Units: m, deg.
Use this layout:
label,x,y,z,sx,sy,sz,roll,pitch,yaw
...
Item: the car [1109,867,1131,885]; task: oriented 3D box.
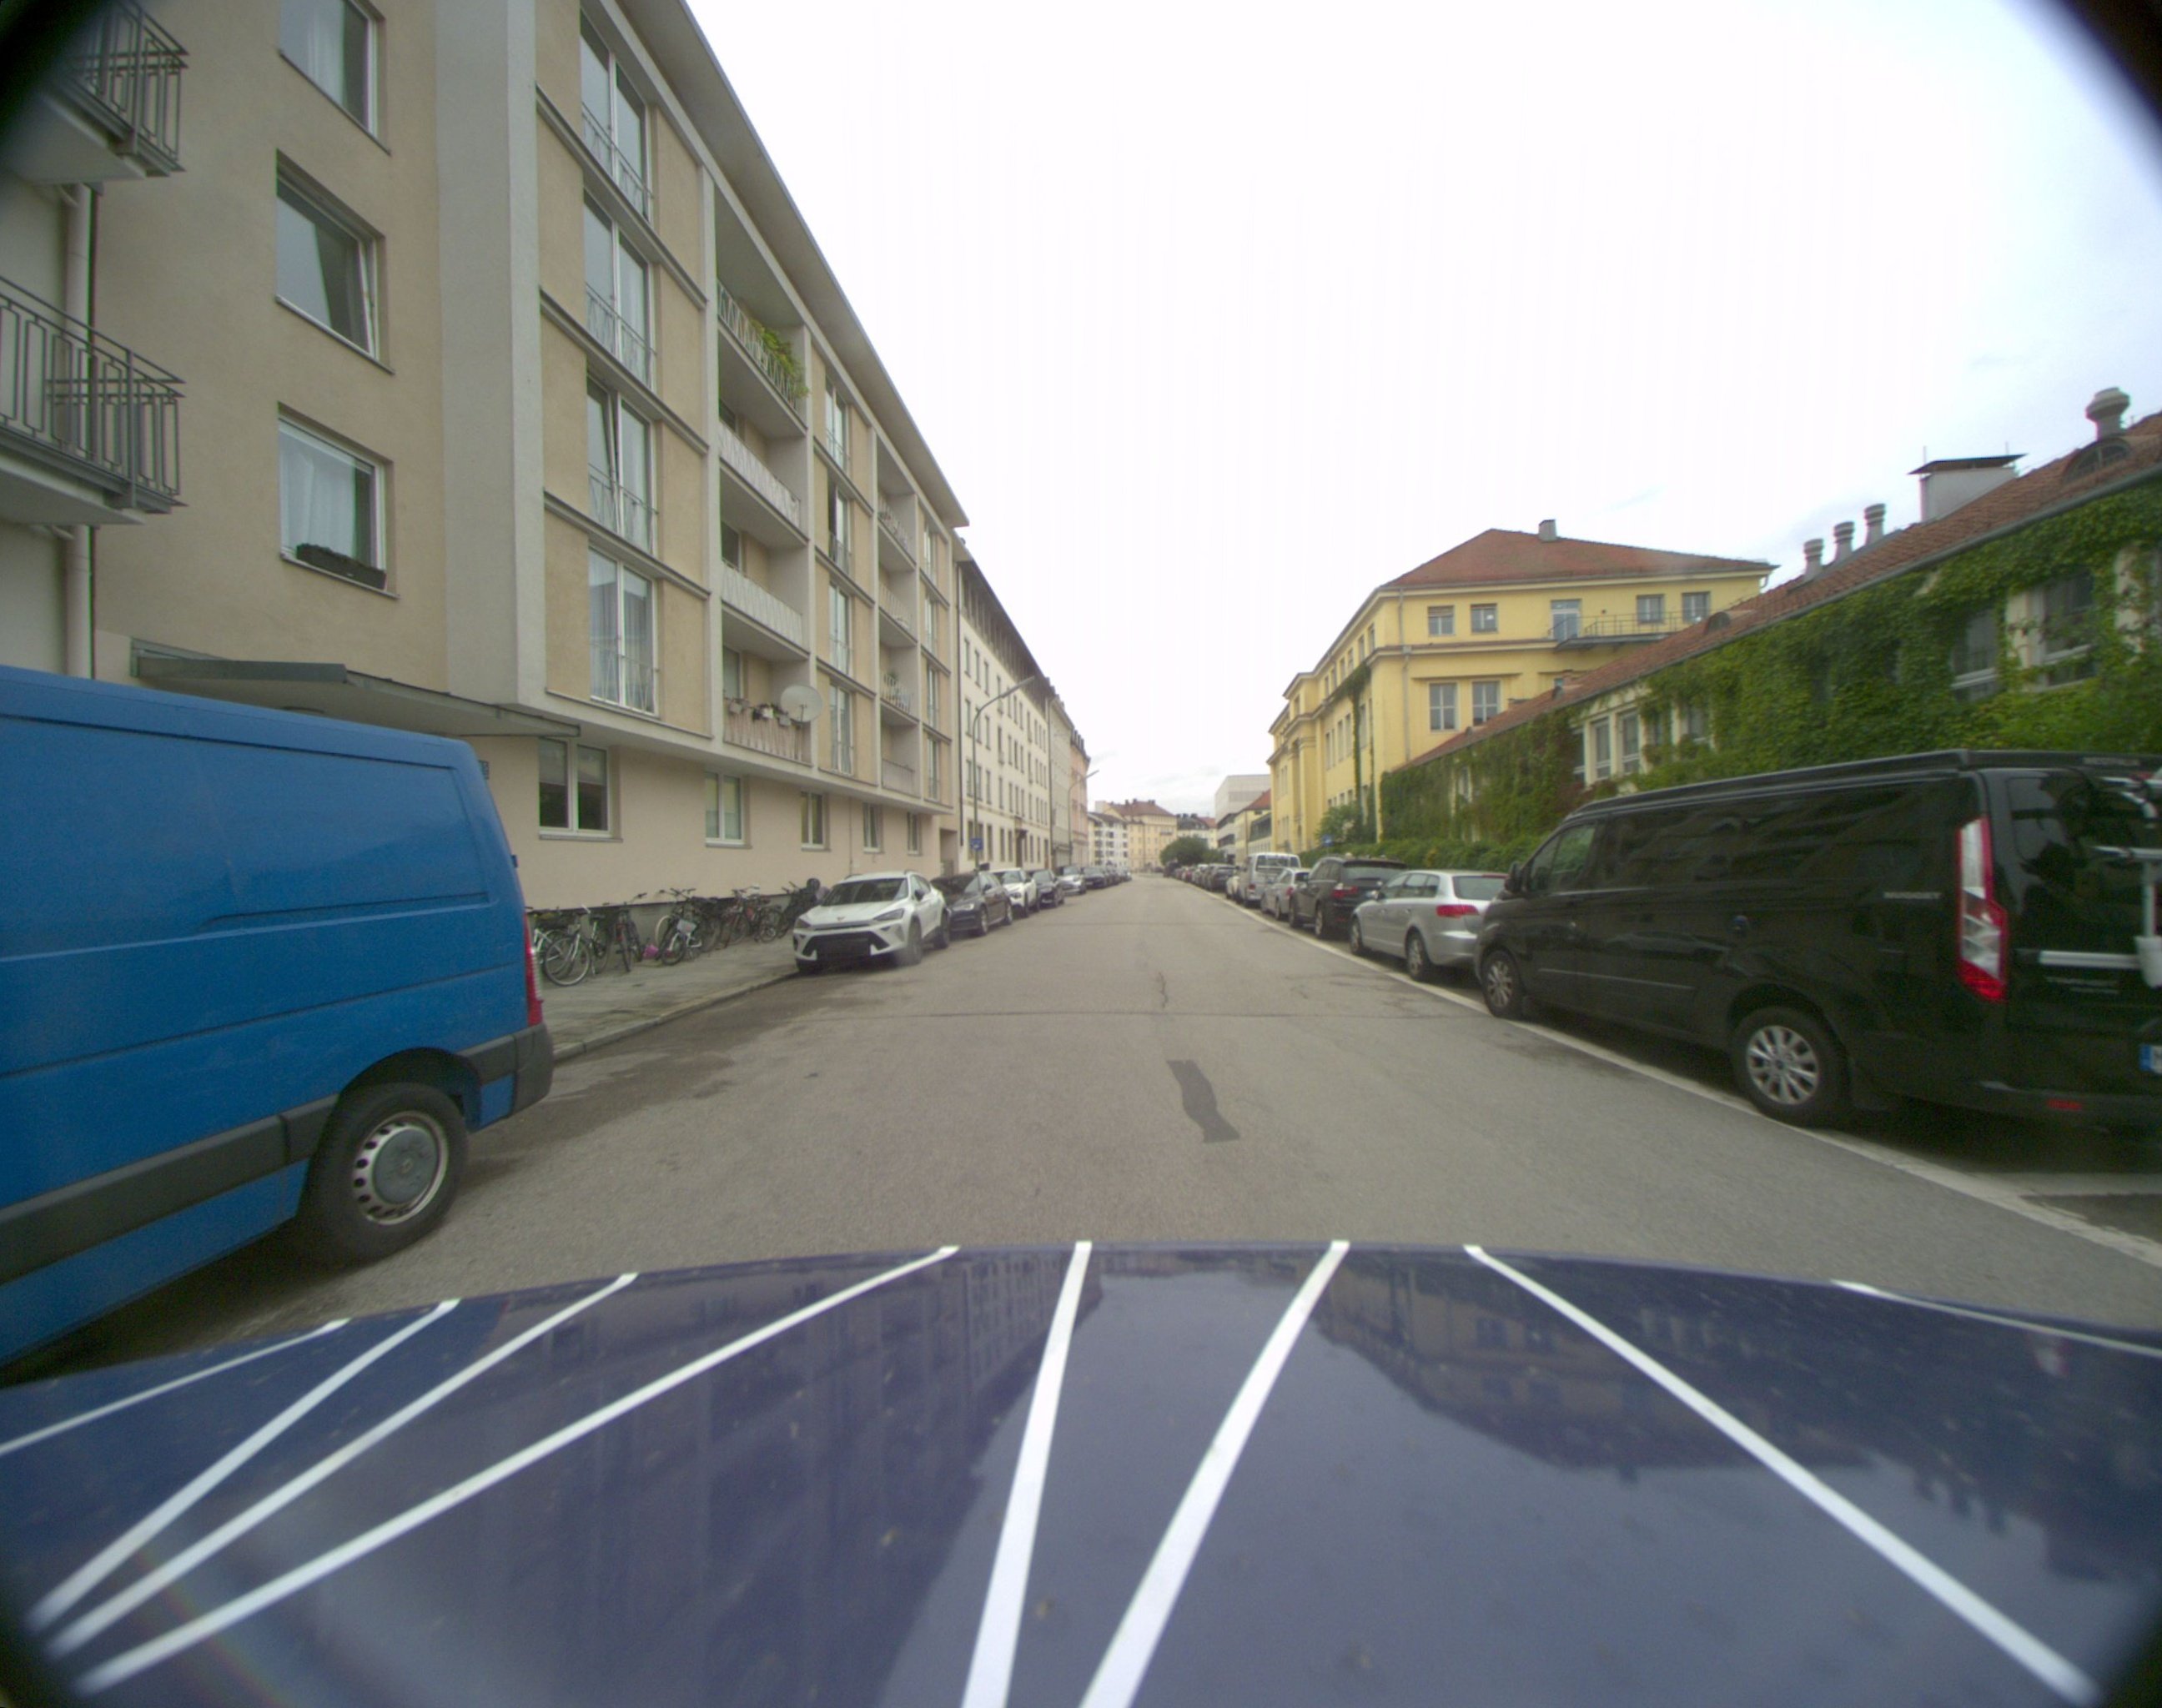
label,x,y,z,sx,sy,sz,roll,pitch,yaw
car,3.798,2.049,72.709,1.768,1.531,4.002,-4,-1,6

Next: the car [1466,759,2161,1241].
label,x,y,z,sx,sy,sz,roll,pitch,yaw
car,4.910,0.653,5.440,1.930,1.967,4.623,2,-1,0

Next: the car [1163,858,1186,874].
label,x,y,z,sx,sy,sz,roll,pitch,yaw
car,15.442,1.957,125.530,2.847,2.536,6.893,0,-1,0

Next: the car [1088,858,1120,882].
label,x,y,z,sx,sy,sz,roll,pitch,yaw
car,1.663,1.104,53.489,1.831,1.572,4.494,-3,-1,7

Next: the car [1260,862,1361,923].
label,x,y,z,sx,sy,sz,roll,pitch,yaw
car,6.205,0.983,21.050,1.807,1.369,4.493,3,0,6

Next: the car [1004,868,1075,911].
label,x,y,z,sx,sy,sz,roll,pitch,yaw
car,-1.445,1.254,28.200,1.831,1.373,4.494,-4,-1,6

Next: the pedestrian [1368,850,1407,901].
label,x,y,z,sx,sy,sz,roll,pitch,yaw
pedestrian,9.064,0.628,22.502,0.844,1.485,0.873,-1,0,7

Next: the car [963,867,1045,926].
label,x,y,z,sx,sy,sz,roll,pitch,yaw
car,-2.264,1.221,23.403,1.706,1.460,4.121,-5,-1,4

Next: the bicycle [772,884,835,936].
label,x,y,z,sx,sy,sz,roll,pitch,yaw
bicycle,-6.705,1.345,18.412,1.342,1.195,0.393,2,1,-8

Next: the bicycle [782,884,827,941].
label,x,y,z,sx,sy,sz,roll,pitch,yaw
bicycle,-6.365,1.320,17.540,0.448,1.195,1.370,2,1,3

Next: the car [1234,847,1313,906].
label,x,y,z,sx,sy,sz,roll,pitch,yaw
car,6.601,0.745,26.571,1.897,1.788,4.883,3,0,6

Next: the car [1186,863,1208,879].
label,x,y,z,sx,sy,sz,roll,pitch,yaw
car,10.753,1.545,70.638,1.737,1.430,3.782,2,-1,6

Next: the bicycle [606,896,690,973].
label,x,y,z,sx,sy,sz,roll,pitch,yaw
bicycle,-7.637,1.386,13.464,0.447,1.195,1.395,2,1,12

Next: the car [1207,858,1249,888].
label,x,y,z,sx,sy,sz,roll,pitch,yaw
car,8.031,1.003,41.816,1.721,1.472,4.222,3,0,4

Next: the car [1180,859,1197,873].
label,x,y,z,sx,sy,sz,roll,pitch,yaw
car,12.538,1.369,89.052,1.773,1.545,4.212,2,0,6

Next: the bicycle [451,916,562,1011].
label,x,y,z,sx,sy,sz,roll,pitch,yaw
bicycle,-7.883,1.474,10.487,0.370,1.095,1.347,2,1,6

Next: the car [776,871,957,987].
label,x,y,z,sx,sy,sz,roll,pitch,yaw
car,-3.436,1.122,13.096,1.780,1.513,4.304,-5,-1,0

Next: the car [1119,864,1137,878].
label,x,y,z,sx,sy,sz,roll,pitch,yaw
car,5.953,2.121,96.006,2.000,1.563,4.494,-4,-1,6

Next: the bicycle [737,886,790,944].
label,x,y,z,sx,sy,sz,roll,pitch,yaw
bicycle,-7.213,1.357,17.303,0.393,1.195,1.343,2,1,11

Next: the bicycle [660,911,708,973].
label,x,y,z,sx,sy,sz,roll,pitch,yaw
bicycle,-6.685,1.463,12.829,0.448,0.889,1.196,2,1,-15

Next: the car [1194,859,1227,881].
label,x,y,z,sx,sy,sz,roll,pitch,yaw
car,9.048,1.080,53.332,1.777,1.400,4.603,3,-1,4

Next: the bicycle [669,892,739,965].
label,x,y,z,sx,sy,sz,roll,pitch,yaw
bicycle,-6.862,1.327,13.894,0.413,1.195,1.284,2,1,12

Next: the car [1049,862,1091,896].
label,x,y,z,sx,sy,sz,roll,pitch,yaw
car,-0.511,1.250,38.834,1.618,1.507,3.382,-5,-1,7

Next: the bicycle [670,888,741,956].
label,x,y,z,sx,sy,sz,roll,pitch,yaw
bicycle,-7.323,1.304,14.891,0.447,1.195,1.395,2,1,12

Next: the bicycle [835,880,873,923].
label,x,y,z,sx,sy,sz,roll,pitch,yaw
bicycle,-6.563,1.340,22.011,0.514,1.150,1.601,0,0,5

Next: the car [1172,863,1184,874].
label,x,y,z,sx,sy,sz,roll,pitch,yaw
car,14.544,2.153,114.258,1.673,1.508,3.950,0,-1,6

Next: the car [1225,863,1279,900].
label,x,y,z,sx,sy,sz,roll,pitch,yaw
car,7.065,1.115,31.638,1.670,1.401,3.561,2,-1,5

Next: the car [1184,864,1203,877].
label,x,y,z,sx,sy,sz,roll,pitch,yaw
car,12.305,1.799,83.379,1.815,1.389,4.022,1,0,6

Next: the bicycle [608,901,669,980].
label,x,y,z,sx,sy,sz,roll,pitch,yaw
bicycle,-7.047,1.350,12.143,0.396,1.095,1.300,2,1,-11

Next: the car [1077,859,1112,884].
label,x,y,z,sx,sy,sz,roll,pitch,yaw
car,0.903,1.113,48.238,1.877,1.439,4.702,-3,-1,4

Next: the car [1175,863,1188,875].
label,x,y,z,sx,sy,sz,roll,pitch,yaw
car,13.619,2.021,103.453,1.673,1.508,3.950,0,-1,6

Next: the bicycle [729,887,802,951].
label,x,y,z,sx,sy,sz,roll,pitch,yaw
bicycle,-6.555,1.330,15.870,0.397,1.195,1.569,3,1,21

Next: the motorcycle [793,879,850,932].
label,x,y,z,sx,sy,sz,roll,pitch,yaw
motorcycle,-6.708,1.302,19.745,0.637,1.263,2.042,0,0,5

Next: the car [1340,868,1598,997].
label,x,y,z,sx,sy,sz,roll,pitch,yaw
car,5.068,0.923,10.609,1.710,1.357,4.003,3,-1,4

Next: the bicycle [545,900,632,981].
label,x,y,z,sx,sy,sz,roll,pitch,yaw
bicycle,-7.747,1.334,12.011,0.370,1.095,1.347,2,1,6

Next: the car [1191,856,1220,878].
label,x,y,z,sx,sy,sz,roll,pitch,yaw
car,9.917,1.015,60.649,1.785,1.631,4.301,3,-1,3

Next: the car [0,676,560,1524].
label,x,y,z,sx,sy,sz,roll,pitch,yaw
car,-3.909,0.726,1.477,2.114,2.201,5.027,-6,1,0

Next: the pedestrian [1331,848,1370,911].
label,x,y,z,sx,sy,sz,roll,pitch,yaw
pedestrian,7.702,0.723,21.755,0.844,1.744,0.873,-1,0,7

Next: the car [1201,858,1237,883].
label,x,y,z,sx,sy,sz,roll,pitch,yaw
car,8.525,1.006,47.216,1.773,1.494,4.275,1,-1,5

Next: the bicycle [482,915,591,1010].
label,x,y,z,sx,sy,sz,roll,pitch,yaw
bicycle,-7.485,1.462,10.510,0.370,1.095,1.388,2,1,6

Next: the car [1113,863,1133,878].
label,x,y,z,sx,sy,sz,roll,pitch,yaw
car,4.439,1.747,79.720,1.724,1.457,4.195,-4,-1,7

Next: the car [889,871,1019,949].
label,x,y,z,sx,sy,sz,roll,pitch,yaw
car,-2.871,1.230,18.302,1.776,1.420,4.696,-6,-1,6

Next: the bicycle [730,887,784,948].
label,x,y,z,sx,sy,sz,roll,pitch,yaw
bicycle,-6.962,1.336,16.374,0.418,1.195,1.286,2,1,10

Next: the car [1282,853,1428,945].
label,x,y,z,sx,sy,sz,roll,pitch,yaw
car,5.506,0.830,15.900,1.706,1.597,4.493,2,0,5

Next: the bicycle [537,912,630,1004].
label,x,y,z,sx,sy,sz,roll,pitch,yaw
bicycle,-7.010,1.429,10.767,0.392,1.095,1.346,2,1,0
